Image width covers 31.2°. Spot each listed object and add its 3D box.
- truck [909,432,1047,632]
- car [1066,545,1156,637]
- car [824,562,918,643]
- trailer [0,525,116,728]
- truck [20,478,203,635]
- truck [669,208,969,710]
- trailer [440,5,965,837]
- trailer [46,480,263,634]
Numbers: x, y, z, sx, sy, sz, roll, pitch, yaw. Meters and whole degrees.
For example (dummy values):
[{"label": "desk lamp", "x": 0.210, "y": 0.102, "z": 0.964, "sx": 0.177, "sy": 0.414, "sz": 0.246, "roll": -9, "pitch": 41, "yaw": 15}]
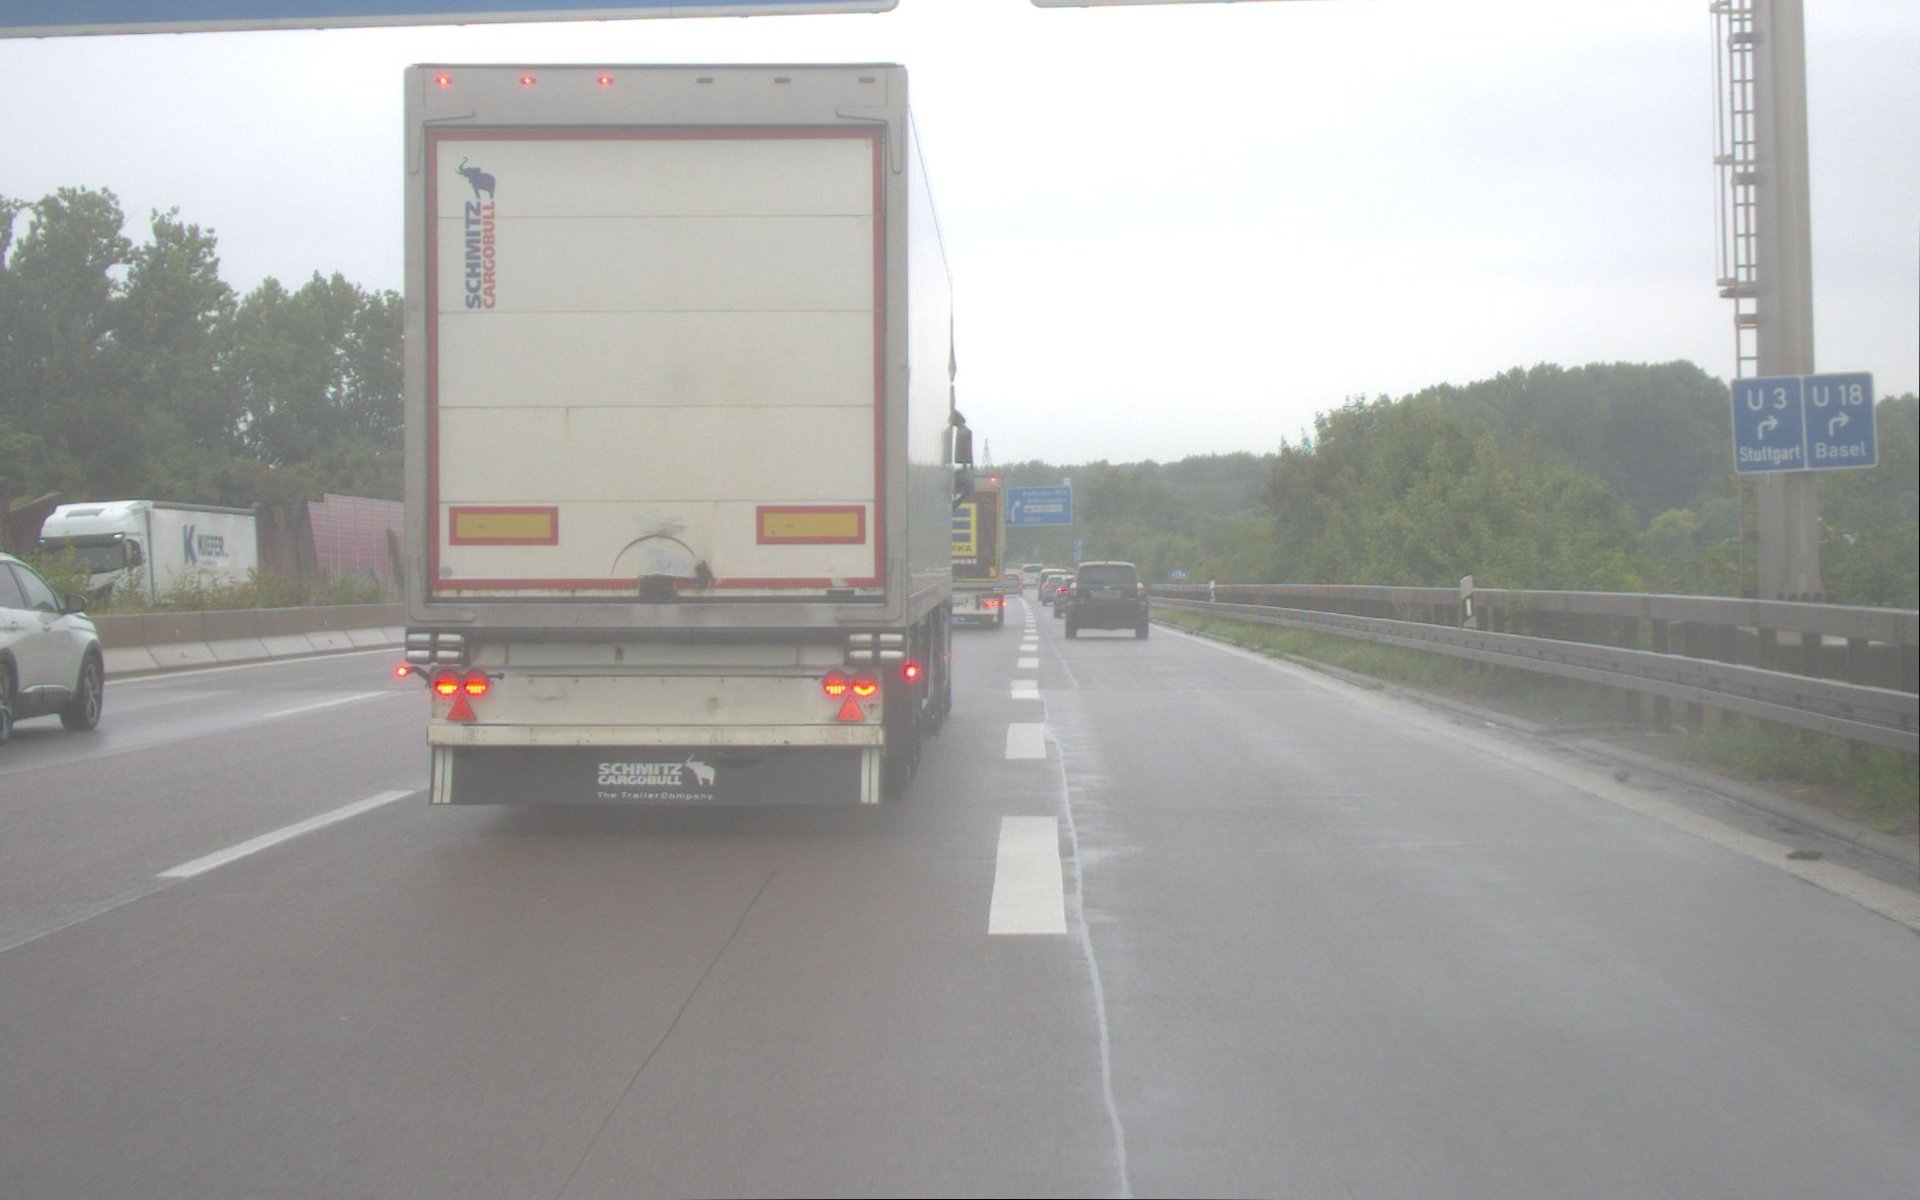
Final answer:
[{"label": "truck", "x": 0.553, "y": -1.822, "z": 94.623, "sx": 3.534, "sy": 5.165, "sz": 9.892, "roll": 1, "pitch": 1, "yaw": 1}, {"label": "car", "x": 3.330, "y": -0.205, "z": 75.909, "sx": 1.897, "sy": 1.943, "sz": 4.000, "roll": 1, "pitch": 1, "yaw": 2}, {"label": "car", "x": -1.945, "y": 0.032, "z": 76.233, "sx": 1.894, "sy": 1.718, "sz": 4.000, "roll": 1, "pitch": 1, "yaw": 1}, {"label": "trailer", "x": -8.567, "y": 0.191, "z": 28.778, "sx": 1.815, "sy": 1.619, "sz": 4.568, "roll": 0, "pitch": 1, "yaw": 1}, {"label": "truck", "x": -23.647, "y": -1.203, "z": 96.254, "sx": 3.056, "sy": 4.172, "sz": 7.888, "roll": 1, "pitch": 1, "yaw": 1}, {"label": "truck", "x": -1.170, "y": -1.255, "z": 31.817, "sx": 2.342, "sy": 4.143, "sz": 6.347, "roll": 1, "pitch": 1, "yaw": 1}, {"label": "trailer", "x": -1.287, "y": -1.086, "z": 24.677, "sx": 2.342, "sy": 4.143, "sz": 14.827, "roll": 1, "pitch": 1, "yaw": 1}, {"label": "trailer", "x": -23.583, "y": -1.258, "z": 101.518, "sx": 3.056, "sy": 4.172, "sz": 13.570, "roll": 1, "pitch": 1, "yaw": 1}]
